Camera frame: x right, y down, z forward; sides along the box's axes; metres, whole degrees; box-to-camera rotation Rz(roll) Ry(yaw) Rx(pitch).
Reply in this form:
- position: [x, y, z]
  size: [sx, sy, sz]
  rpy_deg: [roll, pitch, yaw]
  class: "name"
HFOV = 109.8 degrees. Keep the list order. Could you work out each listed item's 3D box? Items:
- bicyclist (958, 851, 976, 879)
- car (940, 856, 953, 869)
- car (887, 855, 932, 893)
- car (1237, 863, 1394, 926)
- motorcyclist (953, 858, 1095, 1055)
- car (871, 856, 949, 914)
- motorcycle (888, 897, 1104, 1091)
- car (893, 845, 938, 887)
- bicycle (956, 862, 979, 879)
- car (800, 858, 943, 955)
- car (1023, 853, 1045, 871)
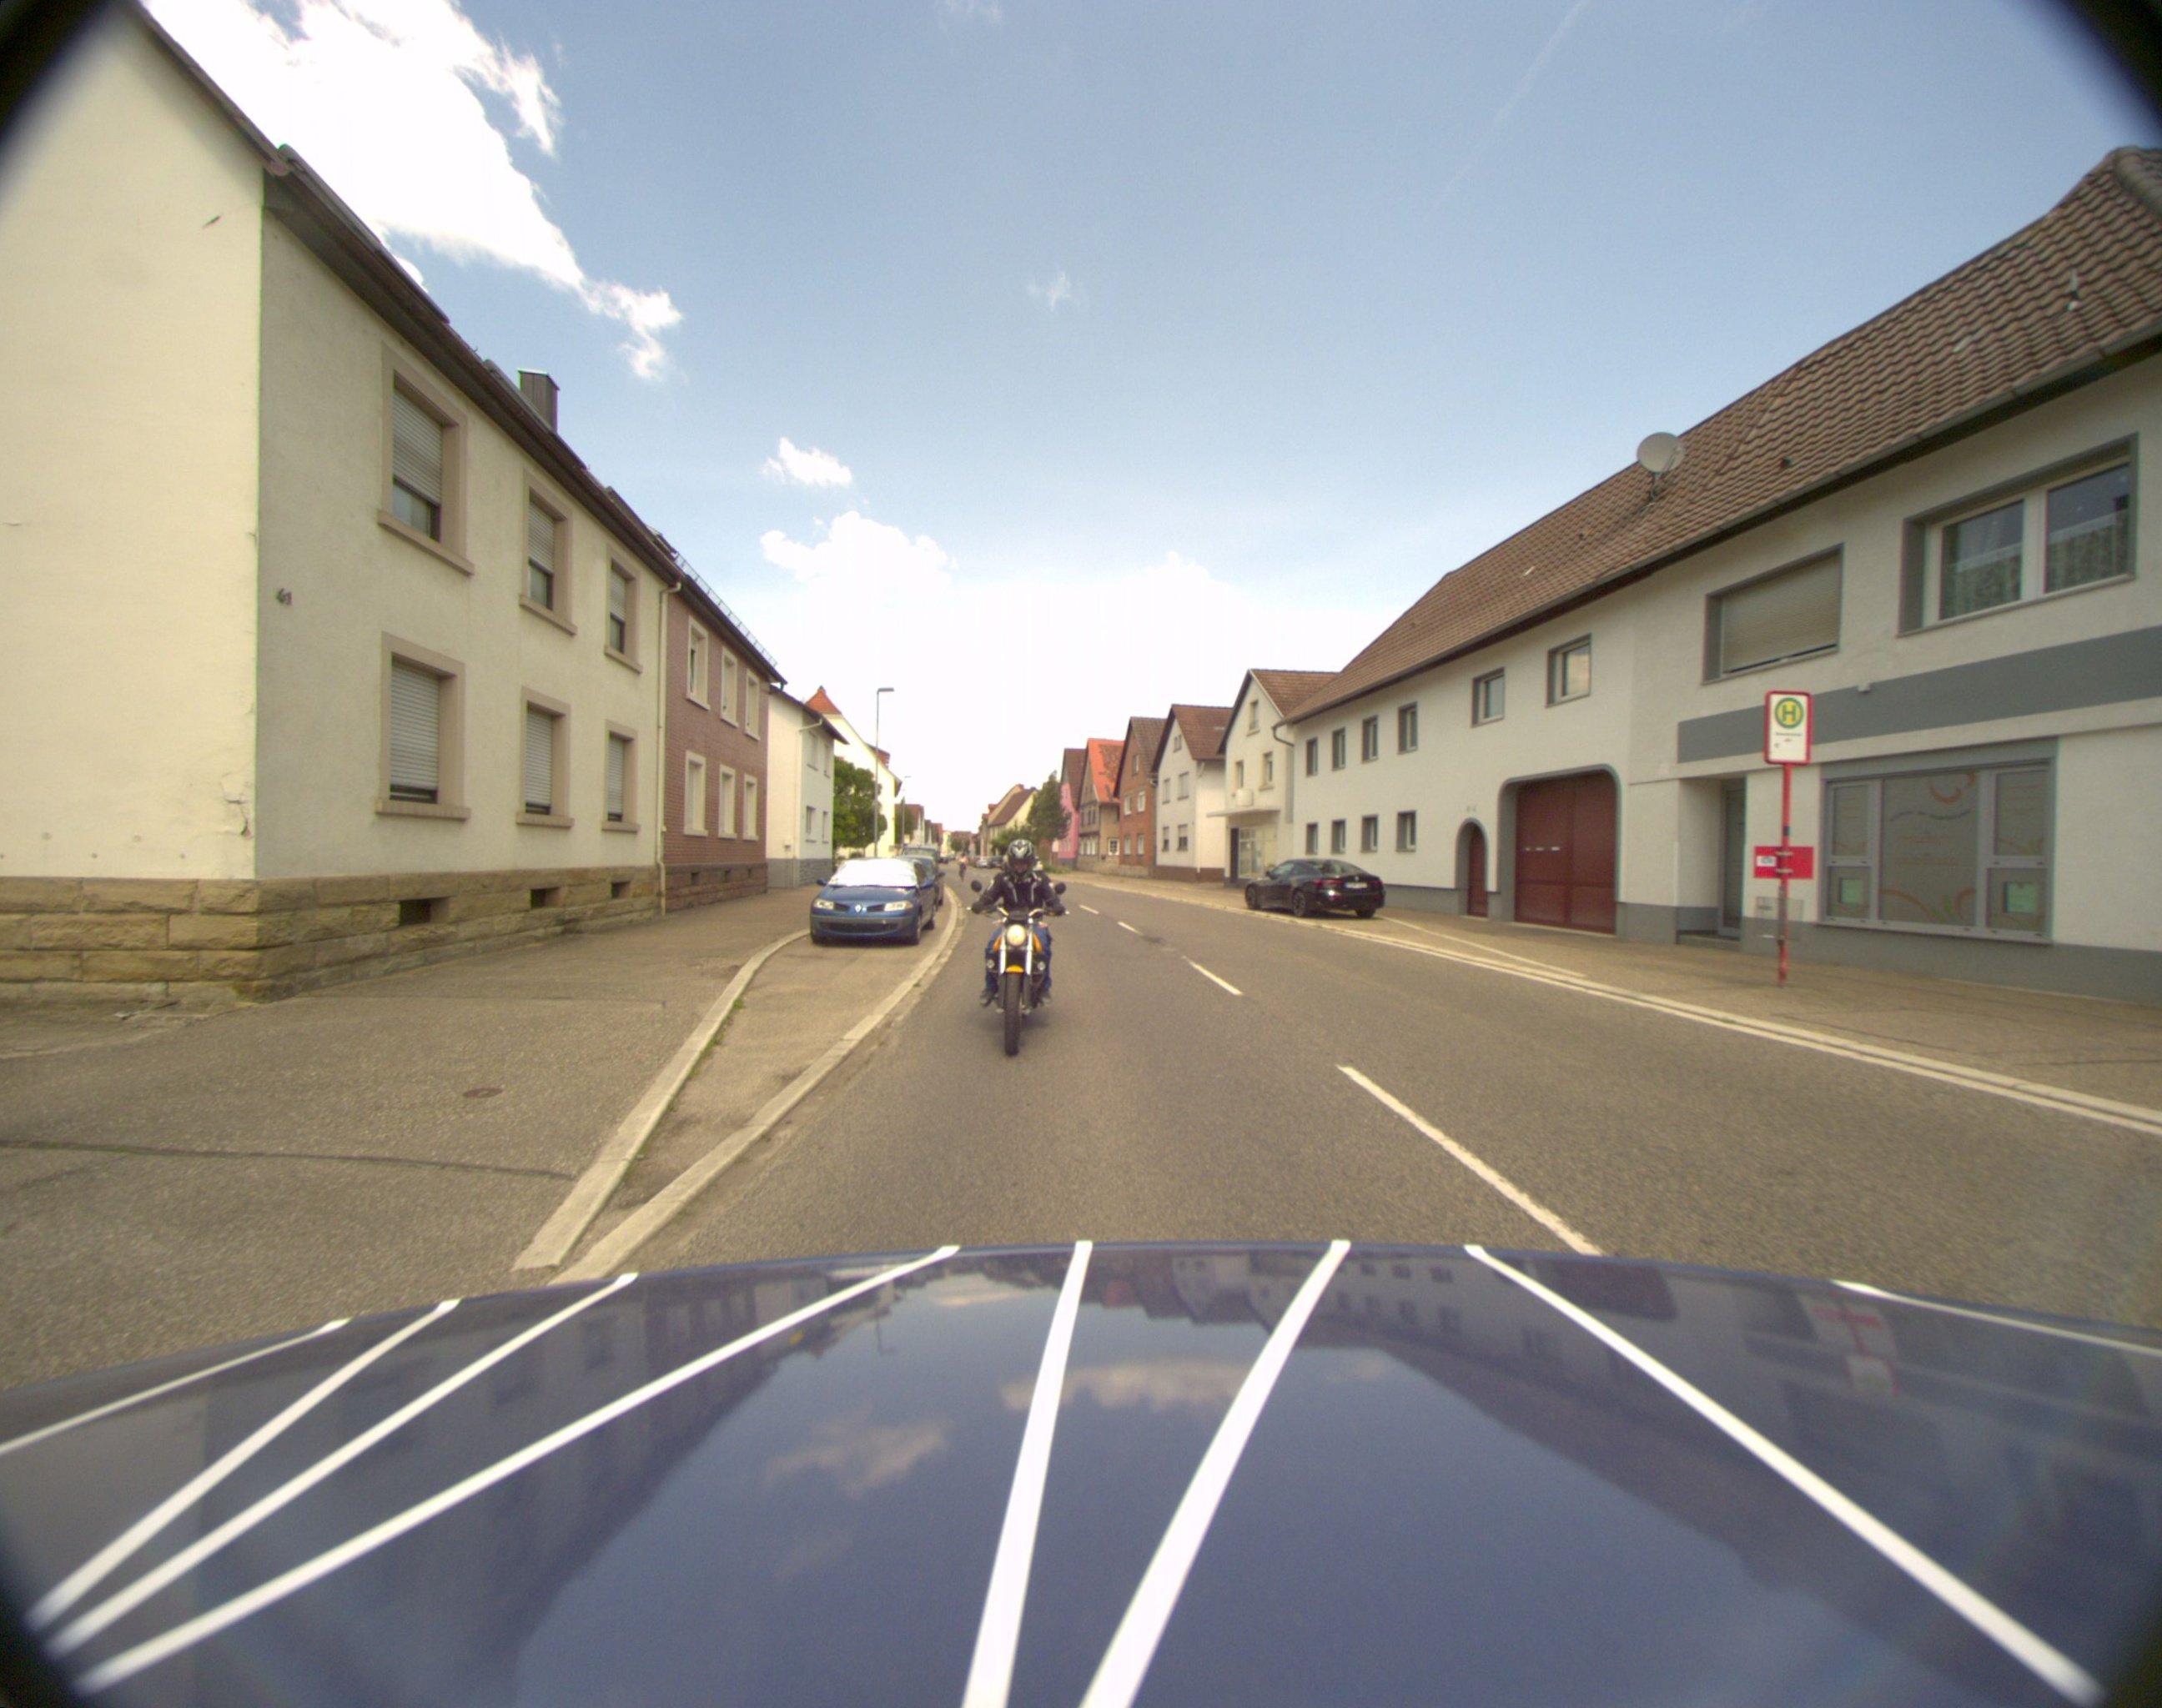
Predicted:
- position: [-6.910, 0.655, 46.159]
  size: [0.909, 1.679, 0.761]
  rpy_deg: [0, 2, 8]
  class: "bicyclist"
- position: [-23.143, 1.445, 130.801]
  size: [2.000, 2.002, 3.996]
  rpy_deg: [-1, 1, -9]
  class: "car"
- position: [-7.273, 0.810, 32.362]
  size: [1.745, 1.495, 4.553]
  rpy_deg: [1, 0, -12]
  class: "car"
- position: [5.607, 0.898, 18.931]
  size: [1.771, 1.341, 4.752]
  rpy_deg: [0, 0, -10]
  class: "car"
- position: [-0.481, 0.843, 6.727]
  size: [0.999, 1.591, 0.801]
  rpy_deg: [0, 2, 19]
  class: "motorcyclist"
- position: [-4.807, 0.873, 21.859]
  size: [1.773, 1.520, 3.999]
  rpy_deg: [1, -2, -7]
  class: "car"
- position: [-0.595, 1.042, 6.410]
  size: [0.983, 1.233, 2.106]
  rpy_deg: [-1, 0, 19]
  class: "motorcycle"
- position: [-8.226, 0.537, 38.143]
  size: [1.932, 1.904, 5.240]
  rpy_deg: [-1, 1, -10]
  class: "car"
- position: [-6.898, 0.995, 46.246]
  size: [0.933, 1.005, 1.926]
  rpy_deg: [0, -1, 7]
  class: "bicycle"
- position: [-3.617, 0.840, 13.811]
  size: [1.727, 1.378, 3.997]
  rpy_deg: [1, 1, -4]
  class: "car"
- position: [-4.161, 0.692, 67.325]
  size: [1.684, 1.521, 3.495]
  rpy_deg: [-1, 1, -8]
  class: "car"
